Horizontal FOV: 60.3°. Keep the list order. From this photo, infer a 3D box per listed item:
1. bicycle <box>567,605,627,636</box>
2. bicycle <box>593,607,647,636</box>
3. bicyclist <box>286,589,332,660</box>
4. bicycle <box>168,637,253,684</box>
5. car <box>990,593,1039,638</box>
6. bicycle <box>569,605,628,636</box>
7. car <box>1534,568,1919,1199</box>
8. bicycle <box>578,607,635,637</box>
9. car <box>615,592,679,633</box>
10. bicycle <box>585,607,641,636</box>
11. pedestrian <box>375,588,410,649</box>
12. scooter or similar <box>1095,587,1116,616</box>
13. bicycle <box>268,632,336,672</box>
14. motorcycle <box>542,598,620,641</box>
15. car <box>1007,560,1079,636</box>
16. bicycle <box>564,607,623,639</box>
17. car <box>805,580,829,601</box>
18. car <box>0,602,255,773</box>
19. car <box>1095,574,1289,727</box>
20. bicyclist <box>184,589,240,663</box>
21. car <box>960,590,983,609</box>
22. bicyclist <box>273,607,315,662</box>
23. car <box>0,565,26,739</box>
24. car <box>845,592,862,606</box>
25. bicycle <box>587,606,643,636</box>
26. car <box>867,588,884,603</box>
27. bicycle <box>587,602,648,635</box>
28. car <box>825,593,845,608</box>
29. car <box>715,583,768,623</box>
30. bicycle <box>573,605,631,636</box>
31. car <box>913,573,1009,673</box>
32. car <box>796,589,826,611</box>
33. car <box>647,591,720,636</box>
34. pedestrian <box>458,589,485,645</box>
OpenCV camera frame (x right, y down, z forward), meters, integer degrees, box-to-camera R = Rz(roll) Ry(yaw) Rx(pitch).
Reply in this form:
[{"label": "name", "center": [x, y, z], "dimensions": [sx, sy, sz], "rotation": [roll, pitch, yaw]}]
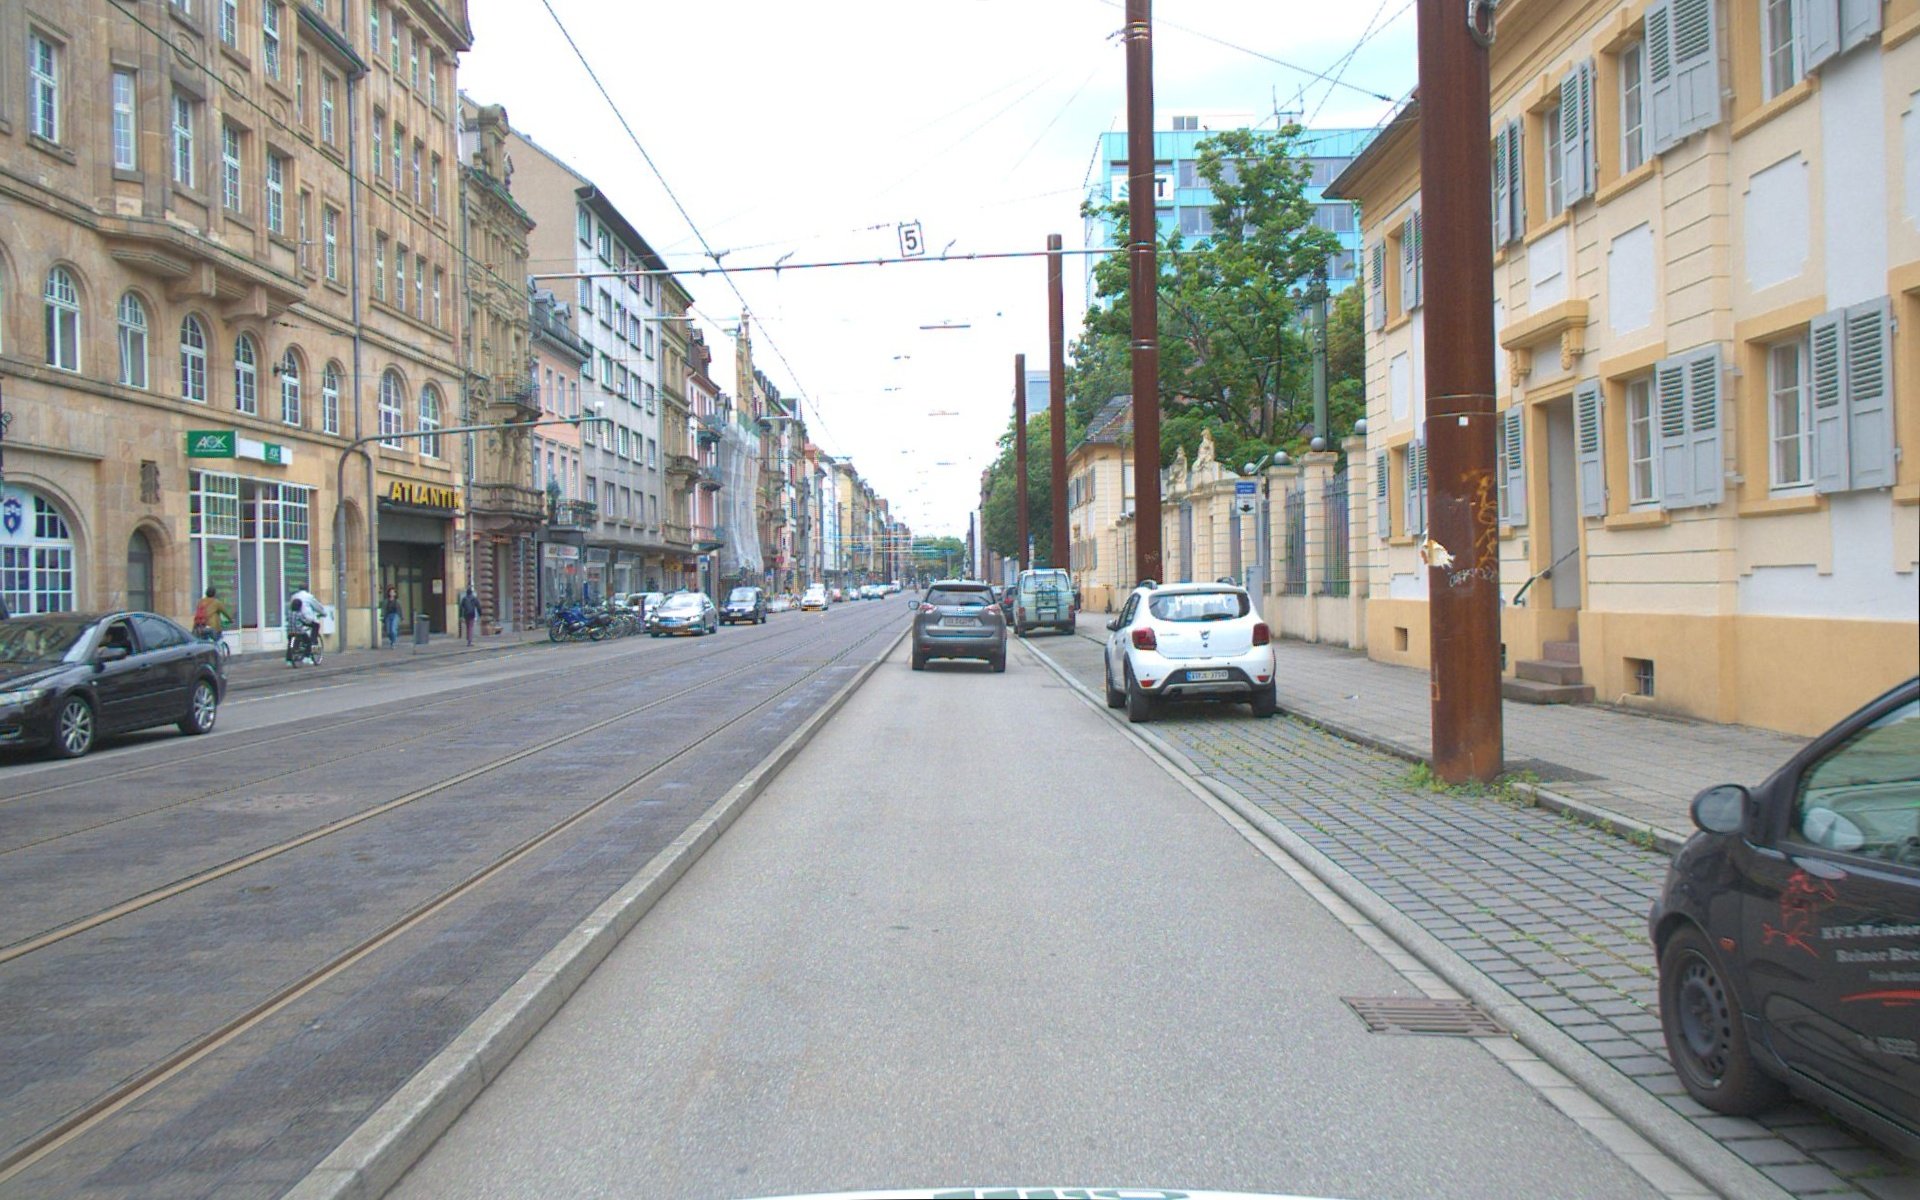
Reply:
[{"label": "bicycle", "center": [-12.421, 0.710, 56.643], "dimensions": [1.929, 1.018, 0.462], "rotation": [-1, 0, -8]}, {"label": "bicycle", "center": [-12.510, 0.794, 60.878], "dimensions": [1.929, 1.018, 0.462], "rotation": [-1, 0, -8]}, {"label": "bicyclist", "center": [-14.139, 0.521, 35.938], "dimensions": [0.598, 1.513, 0.972], "rotation": [-1, 0, -1]}, {"label": "bicycle", "center": [-13.998, 1.116, 30.959], "dimensions": [0.570, 0.758, 2.250], "rotation": [-1, 0, 0]}, {"label": "car", "center": [2.176, 0.593, 66.536], "dimensions": [1.714, 1.623, 3.923], "rotation": [-4, 0, -1]}, {"label": "bicycle", "center": [-12.490, 0.719, 57.147], "dimensions": [1.929, 1.018, 0.462], "rotation": [-1, 0, -8]}, {"label": "car", "center": [2.905, 0.665, 3.922], "dimensions": [1.604, 1.458, 3.930], "rotation": [-3, 0, -1]}, {"label": "bicycle", "center": [-12.482, 0.770, 58.472], "dimensions": [1.929, 1.018, 0.462], "rotation": [-1, 0, -8]}, {"label": "car", "center": [-12.368, 0.457, 65.549], "dimensions": [1.740, 1.531, 4.401], "rotation": [-1, 0, -1]}, {"label": "bicycle", "center": [-12.493, 0.776, 59.626], "dimensions": [1.929, 1.018, 0.462], "rotation": [-1, 0, -8]}, {"label": "pedestrian", "center": [-15.454, 0.490, 45.078], "dimensions": [0.671, 1.641, 0.742], "rotation": [-1, 0, -1]}, {"label": "scooter or similar", "center": [6.500, 0.066, 73.918], "dimensions": [0.731, 1.272, 1.919], "rotation": [-1, -1, -1]}, {"label": "bicycle", "center": [-14.124, 1.103, 35.558], "dimensions": [0.570, 0.758, 2.250], "rotation": [-1, 0, 0]}, {"label": "motorcycle", "center": [-12.345, 0.635, 53.929], "dimensions": [2.319, 1.325, 0.872], "rotation": [-1, 0, -37]}, {"label": "car", "center": [2.551, -0.072, 51.963], "dimensions": [1.814, 2.151, 4.984], "rotation": [-4, 0, -1]}, {"label": "bicycle", "center": [-12.386, 0.764, 55.884], "dimensions": [1.885, 1.018, 0.462], "rotation": [-1, 0, -8]}, {"label": "car", "center": [-12.327, -0.810, 142.542], "dimensions": [1.954, 1.736, 3.997], "rotation": [-1, -1, -4]}, {"label": "car", "center": [-9.297, 0.833, 16.966], "dimensions": [1.789, 1.458, 4.670], "rotation": [-3, 0, 4]}, {"label": "car", "center": [2.753, 0.545, 20.447], "dimensions": [1.720, 1.601, 3.930], "rotation": [-3, 0, -1]}, {"label": "bicyclist", "center": [-14.008, 0.479, 30.993], "dimensions": [0.598, 1.347, 0.972], "rotation": [-1, 0, -1]}, {"label": "car", "center": [0.933, -0.046, 133.514], "dimensions": [1.740, 1.445, 4.134], "rotation": [-1, 0, -1]}, {"label": "bicyclist", "center": [-14.138, 0.729, 35.110], "dimensions": [0.598, 1.137, 0.659], "rotation": [-1, 0, -1]}, {"label": "car", "center": [-12.022, 0.675, 17.044], "dimensions": [1.860, 2.011, 5.096], "rotation": [-3, 0, -1]}, {"label": "car", "center": [-12.997, -0.111, 201.705], "dimensions": [1.954, 1.663, 3.997], "rotation": [-1, -1, -4]}, {"label": "bicycle", "center": [-12.559, 0.762, 60.229], "dimensions": [1.929, 1.018, 0.462], "rotation": [-1, 0, -8]}, {"label": "car", "center": [-10.013, -0.497, 196.253], "dimensions": [1.954, 1.663, 3.997], "rotation": [-1, -1, -4]}, {"label": "bicycle", "center": [-12.730, 0.688, 61.482], "dimensions": [2.189, 1.146, 0.503], "rotation": [-1, 0, -8]}, {"label": "car", "center": [-12.957, 0.061, 171.828], "dimensions": [1.954, 1.490, 3.997], "rotation": [-1, -1, -4]}, {"label": "car", "center": [-9.642, 0.127, 73.414], "dimensions": [1.723, 1.701, 4.614], "rotation": [-1, 0, 0]}, {"label": "bicycle", "center": [-12.464, 0.722, 57.684], "dimensions": [1.929, 1.018, 0.462], "rotation": [-1, 0, -8]}, {"label": "car", "center": [0.003, 0.419, 32.388], "dimensions": [1.714, 1.786, 3.923], "rotation": [2, 0, -1]}, {"label": "car", "center": [-10.157, -0.017, 112.944], "dimensions": [1.653, 1.445, 4.134], "rotation": [-1, 0, -1]}, {"label": "car", "center": [-9.475, 0.433, 56.968], "dimensions": [1.723, 1.474, 4.614], "rotation": [-1, 0, 0]}, {"label": "pedestrian", "center": [-14.223, 0.490, 48.189], "dimensions": [0.556, 1.626, 0.718], "rotation": [-1, 0, -1]}]
